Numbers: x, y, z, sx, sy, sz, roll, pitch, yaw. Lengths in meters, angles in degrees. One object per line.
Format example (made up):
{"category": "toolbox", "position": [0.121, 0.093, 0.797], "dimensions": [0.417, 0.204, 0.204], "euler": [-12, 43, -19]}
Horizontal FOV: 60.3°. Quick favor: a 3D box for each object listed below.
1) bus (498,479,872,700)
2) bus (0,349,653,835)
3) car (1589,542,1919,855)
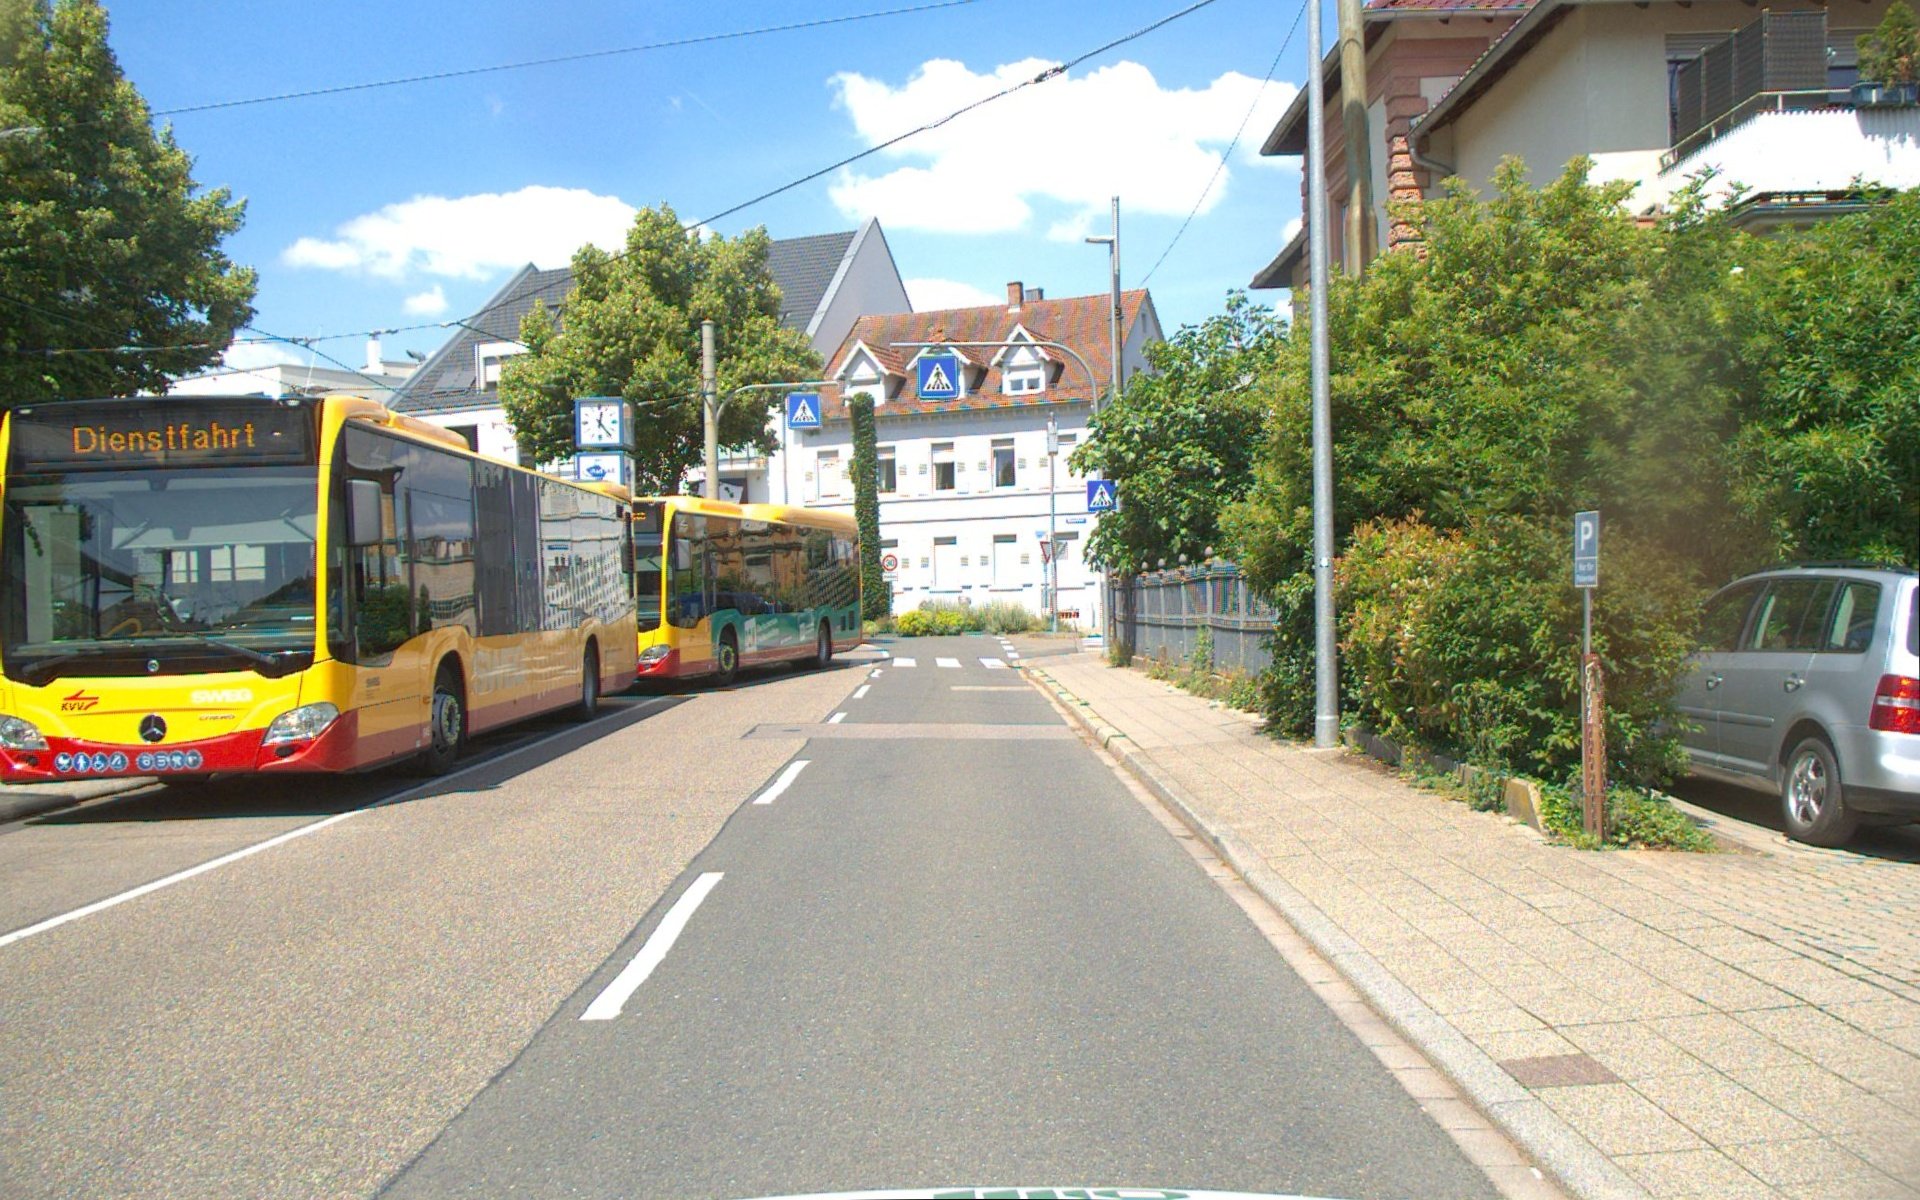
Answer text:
{"category": "bus", "position": [-4.442, -0.239, 30.637], "dimensions": [2.720, 3.264, 12.318], "euler": [0, 1, 11]}
{"category": "bus", "position": [-5.684, -0.012, 17.325], "dimensions": [2.848, 3.305, 12.115], "euler": [0, 0, -1]}
{"category": "car", "position": [5.805, 0.626, 10.834], "dimensions": [1.725, 1.656, 3.999], "euler": [4, -1, -1]}
